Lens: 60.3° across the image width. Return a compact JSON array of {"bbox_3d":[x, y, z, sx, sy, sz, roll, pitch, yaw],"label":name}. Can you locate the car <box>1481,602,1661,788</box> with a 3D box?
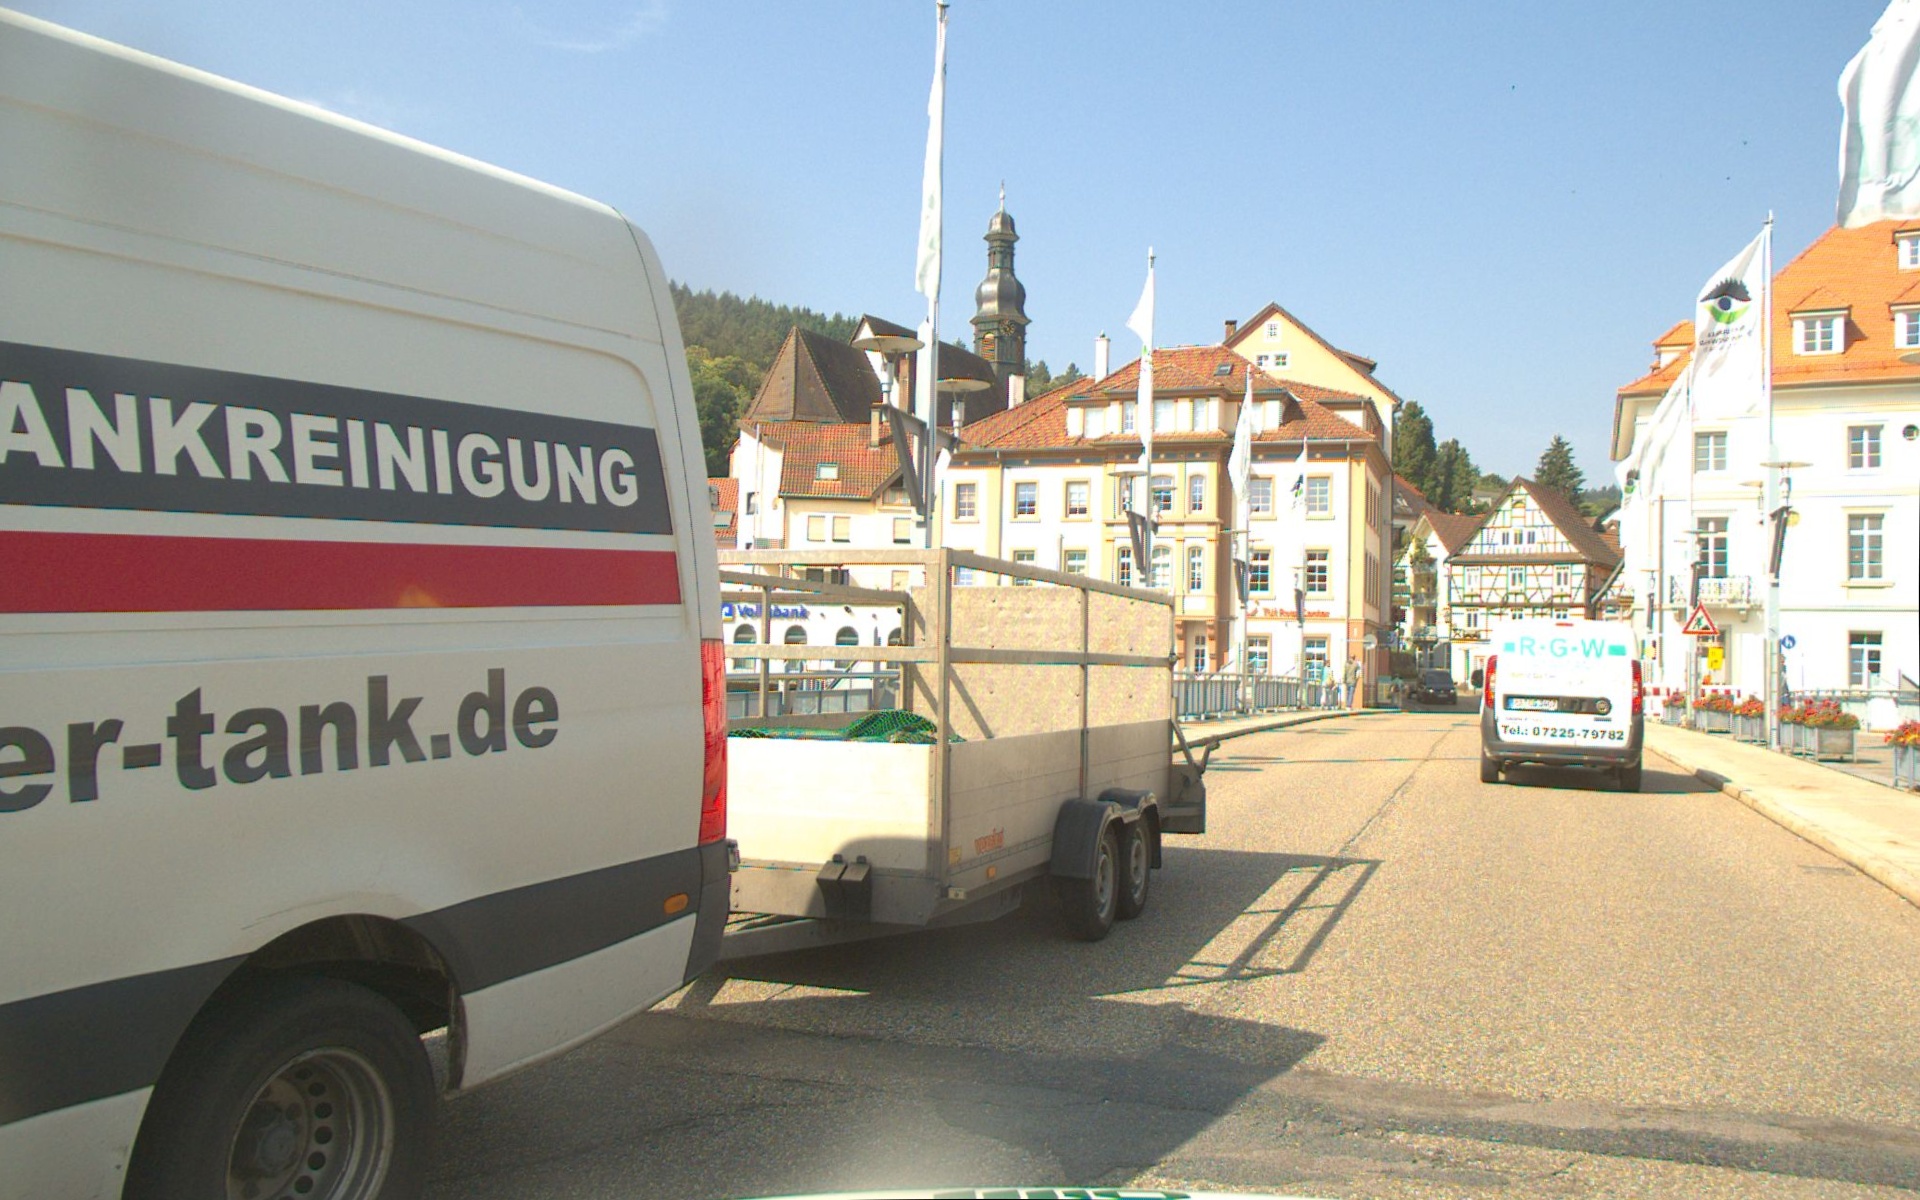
[{"bbox_3d":[7.317,1.129,20.013,1.806,1.940,4.315,1,-3,19],"label":"car"}]

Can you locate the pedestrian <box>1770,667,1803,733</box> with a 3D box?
[{"bbox_3d":[16.181,1.953,32.395,0.442,1.266,0.626,0,-3,13],"label":"pedestrian"}]

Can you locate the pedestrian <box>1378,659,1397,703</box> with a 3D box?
[{"bbox_3d":[18.866,3.557,72.946,0.786,1.890,0.616,0,-2,18],"label":"pedestrian"}]

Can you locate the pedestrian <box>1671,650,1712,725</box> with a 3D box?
[{"bbox_3d":[17.611,2.106,39.832,0.729,1.753,0.728,1,-2,12],"label":"pedestrian"}]

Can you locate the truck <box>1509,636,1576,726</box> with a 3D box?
[{"bbox_3d":[18.151,2.545,51.697,1.822,2.631,4.261,1,-3,18],"label":"truck"}]

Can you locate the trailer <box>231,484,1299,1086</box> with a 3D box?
[{"bbox_3d":[-0.350,0.650,8.231,2.560,1.860,5.630,0,-2,27],"label":"trailer"}]

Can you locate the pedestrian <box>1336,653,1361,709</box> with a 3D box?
[{"bbox_3d":[12.677,2.647,53.949,0.602,1.793,0.863,1,-2,24],"label":"pedestrian"}]

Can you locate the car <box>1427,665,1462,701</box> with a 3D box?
[{"bbox_3d":[26.485,4.514,90.401,1.739,1.824,4.698,2,-2,17],"label":"car"}]

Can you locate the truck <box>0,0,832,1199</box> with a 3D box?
[{"bbox_3d":[-2.988,0.070,2.373,2.065,2.746,7.122,0,-1,28],"label":"truck"}]

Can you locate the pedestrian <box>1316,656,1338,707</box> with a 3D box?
[{"bbox_3d":[12.027,2.683,54.232,0.572,1.638,0.537,1,-2,23],"label":"pedestrian"}]

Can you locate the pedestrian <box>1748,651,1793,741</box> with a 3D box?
[{"bbox_3d":[15.194,1.795,31.026,0.652,1.647,0.563,1,-2,16],"label":"pedestrian"}]
